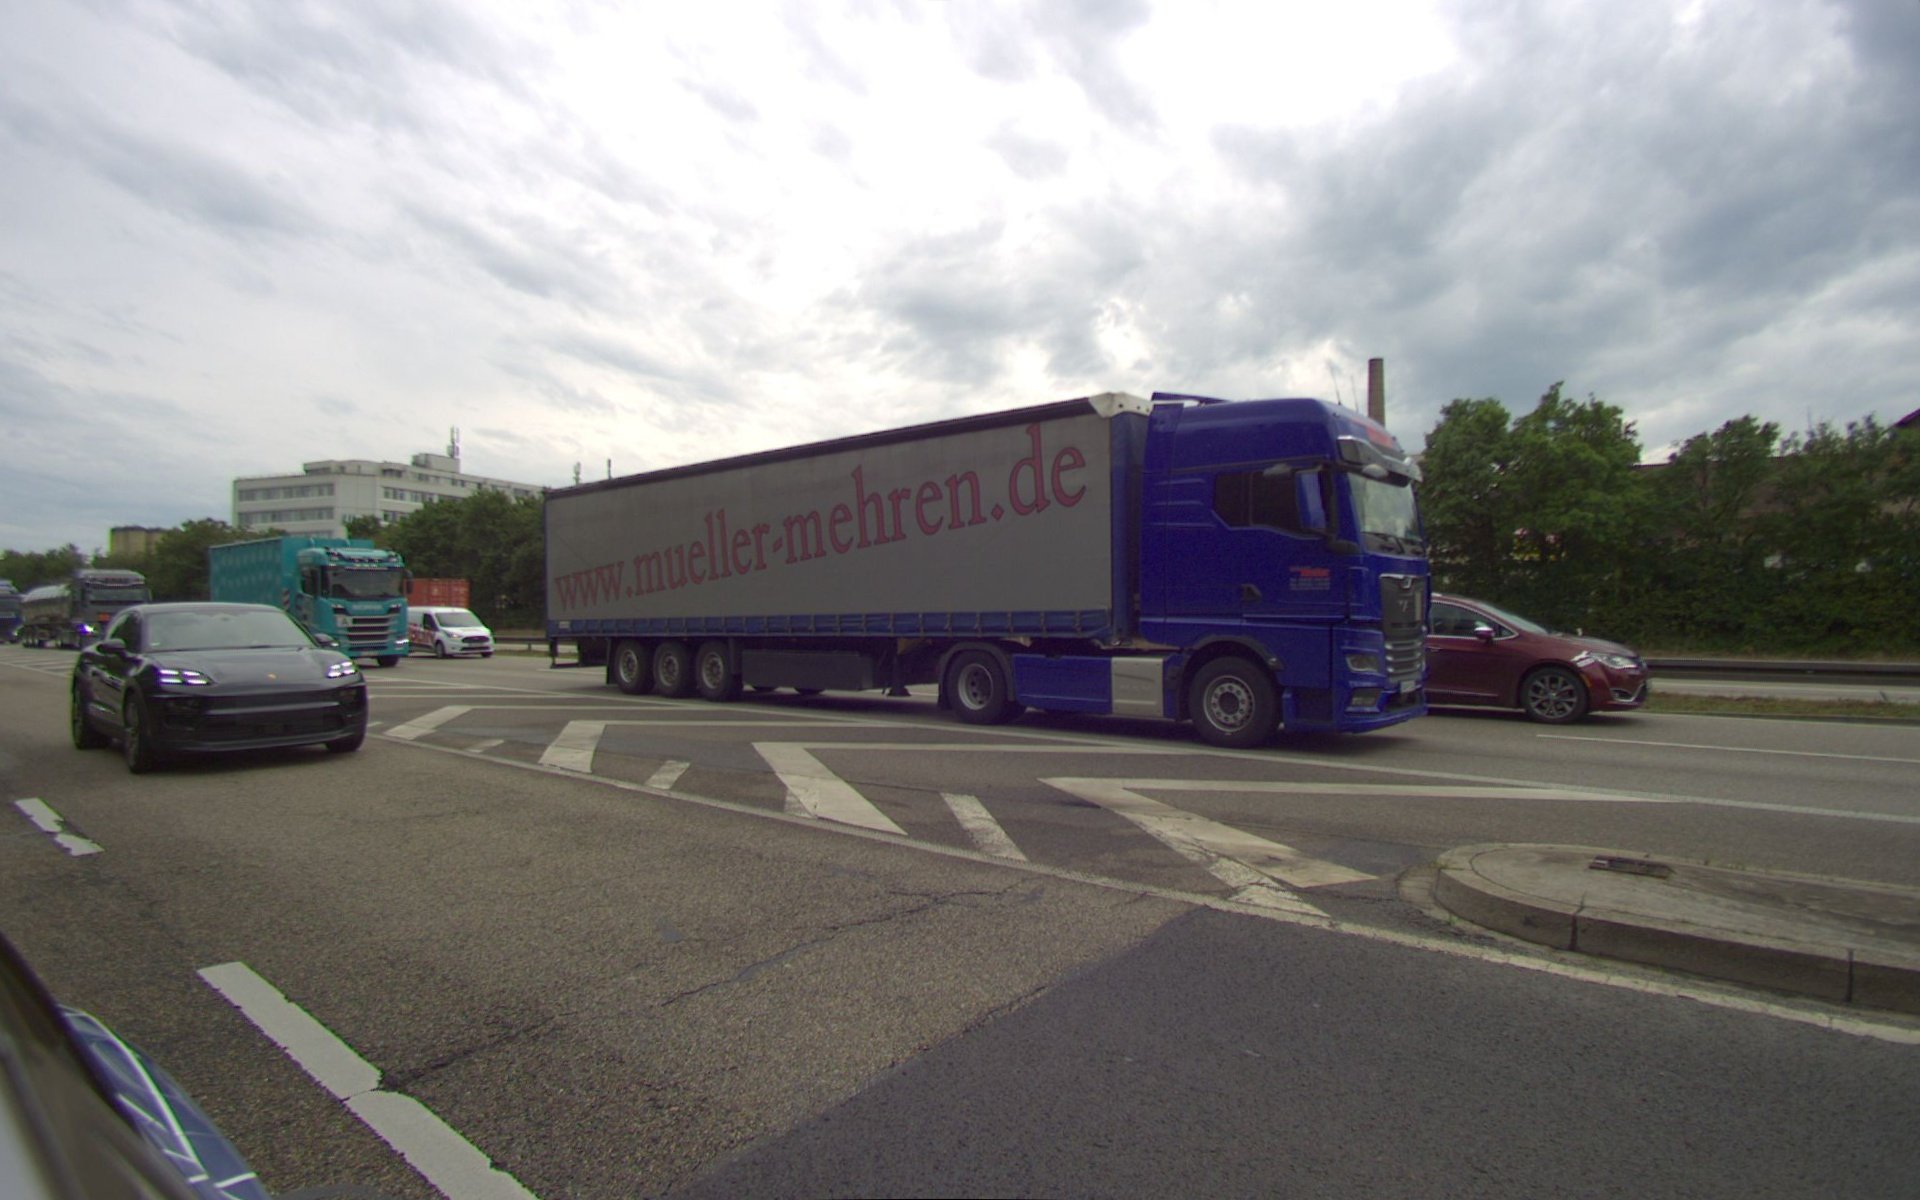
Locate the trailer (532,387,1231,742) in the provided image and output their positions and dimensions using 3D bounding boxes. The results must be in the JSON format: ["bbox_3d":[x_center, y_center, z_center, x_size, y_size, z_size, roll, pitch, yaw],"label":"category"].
[{"bbox_3d":[-2.543,-0.271,16.962,13.910,4.005,2.646,-1,-2,41],"label":"trailer"}]

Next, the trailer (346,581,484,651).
[{"bbox_3d":[-34.783,1.053,64.181,13.337,4.095,2.737,-1,-2,39],"label":"trailer"}]

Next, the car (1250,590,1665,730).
[{"bbox_3d":[6.953,0.774,14.570,5.082,1.691,1.766,-1,-2,41],"label":"car"}]

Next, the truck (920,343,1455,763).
[{"bbox_3d":[2.568,-0.388,12.566,5.923,3.991,2.641,-1,-2,41],"label":"truck"}]

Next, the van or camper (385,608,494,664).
[{"bbox_3d":[-18.756,1.270,36.404,4.584,1.907,1.700,-1,-2,37],"label":"van or camper"}]

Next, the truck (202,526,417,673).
[{"bbox_3d":[-20.763,0.084,31.962,10.113,4.031,2.667,-1,-2,39],"label":"truck"}]

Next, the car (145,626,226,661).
[{"bbox_3d":[-30.947,1.715,40.426,3.996,1.332,1.735,-1,-2,40],"label":"car"}]

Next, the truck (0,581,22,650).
[{"bbox_3d":[-64.928,1.057,66.078,13.979,4.263,2.781,-1,-2,36],"label":"truck"}]

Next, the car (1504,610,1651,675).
[{"bbox_3d":[18.688,1.259,30.705,3.617,1.852,1.540,-1,-2,40],"label":"car"}]

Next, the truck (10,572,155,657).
[{"bbox_3d":[-45.611,0.794,52.368,13.128,3.955,3.287,-1,-2,38],"label":"truck"}]

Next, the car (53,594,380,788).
[{"bbox_3d":[-8.236,0.829,11.030,4.750,1.676,1.881,-1,-2,41],"label":"car"}]
